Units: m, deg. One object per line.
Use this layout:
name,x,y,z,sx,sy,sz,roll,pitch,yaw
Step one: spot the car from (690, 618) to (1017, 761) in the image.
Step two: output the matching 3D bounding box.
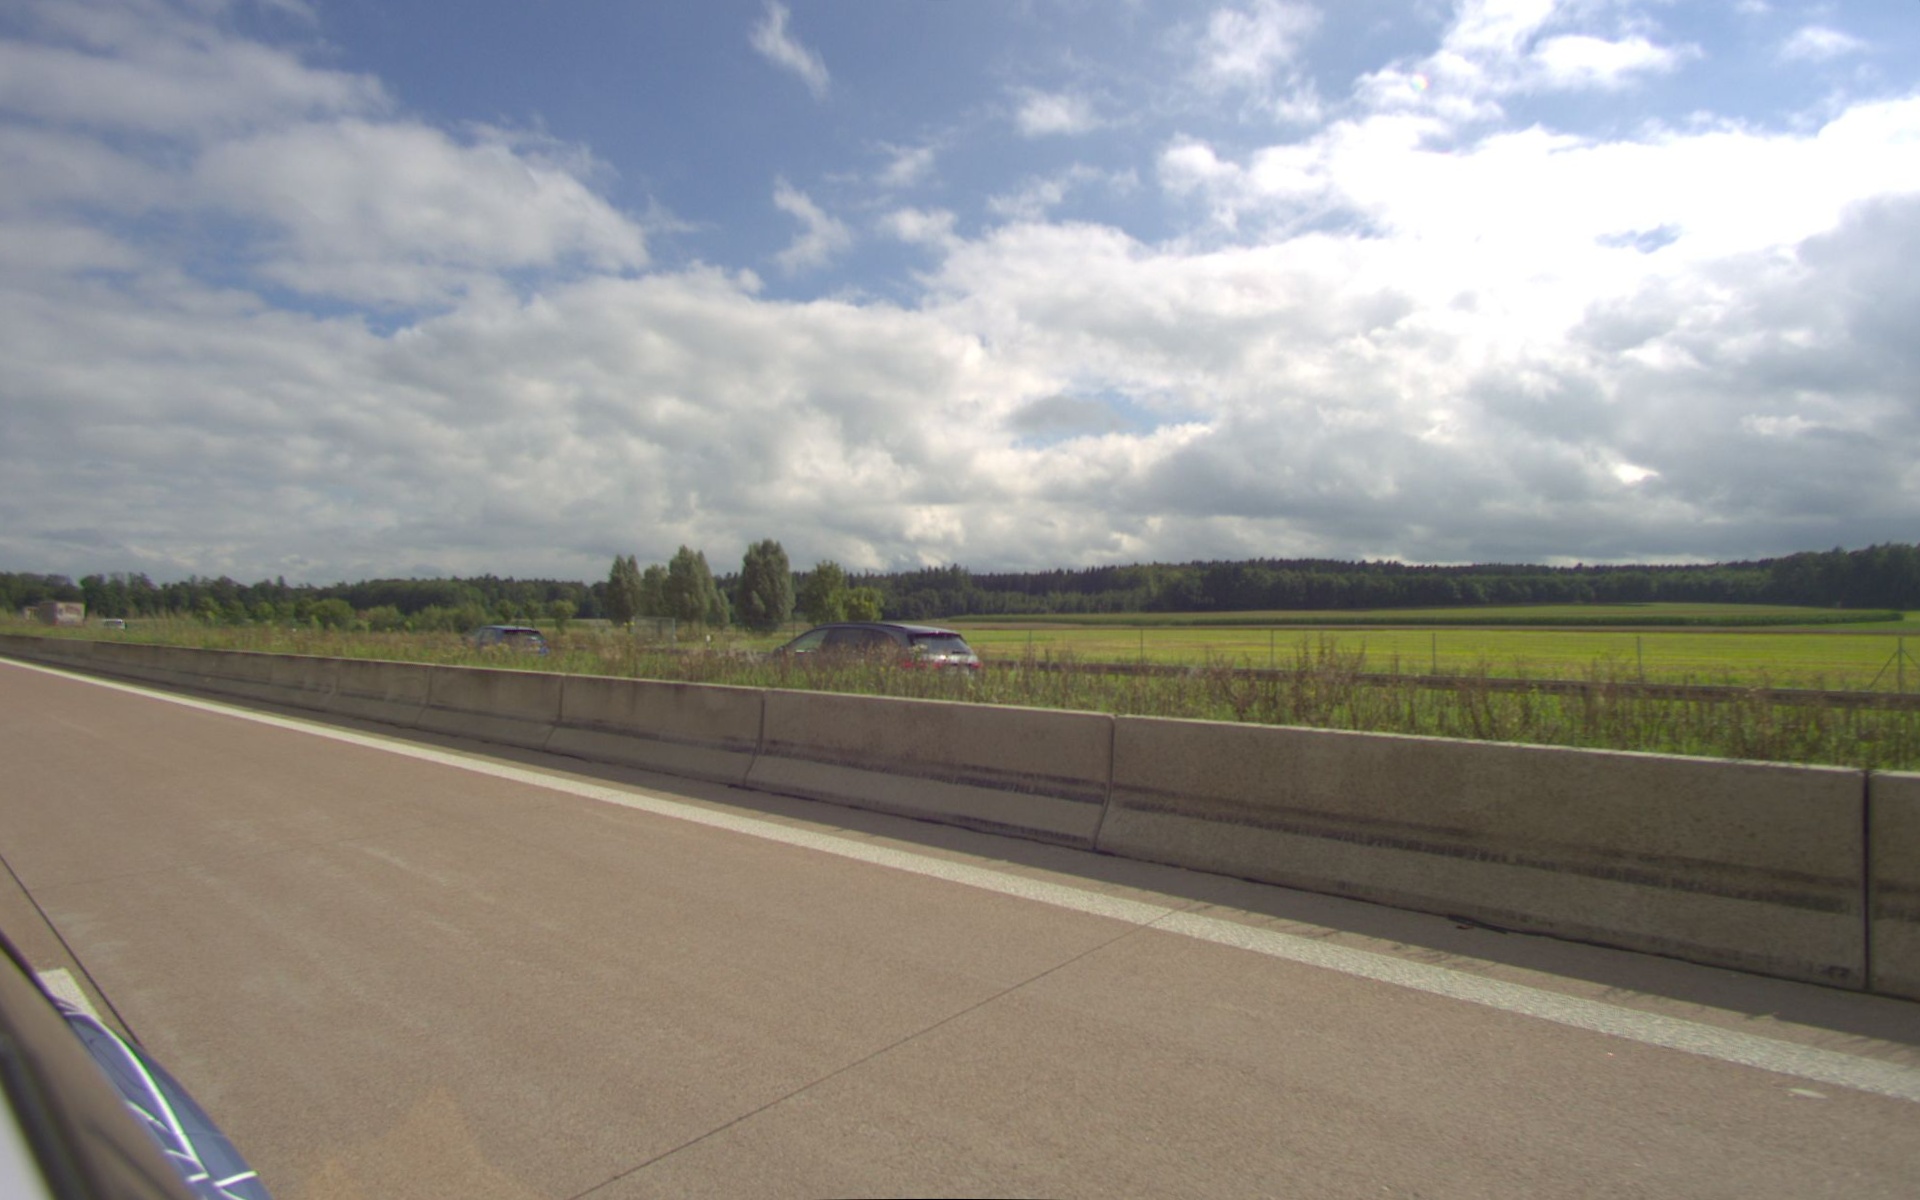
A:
car,-1.800,1.227,15.604,5.272,1.860,1.973,-1,-2,41

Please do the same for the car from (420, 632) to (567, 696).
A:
car,-15.084,1.976,32.547,6.099,1.860,1.973,-1,-2,41

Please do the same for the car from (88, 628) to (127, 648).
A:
car,-81.712,3.663,96.973,5.725,1.860,2.037,-1,-2,41

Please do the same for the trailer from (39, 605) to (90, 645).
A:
trailer,-101.988,2.881,115.169,12.090,4.296,2.990,-2,-1,42
